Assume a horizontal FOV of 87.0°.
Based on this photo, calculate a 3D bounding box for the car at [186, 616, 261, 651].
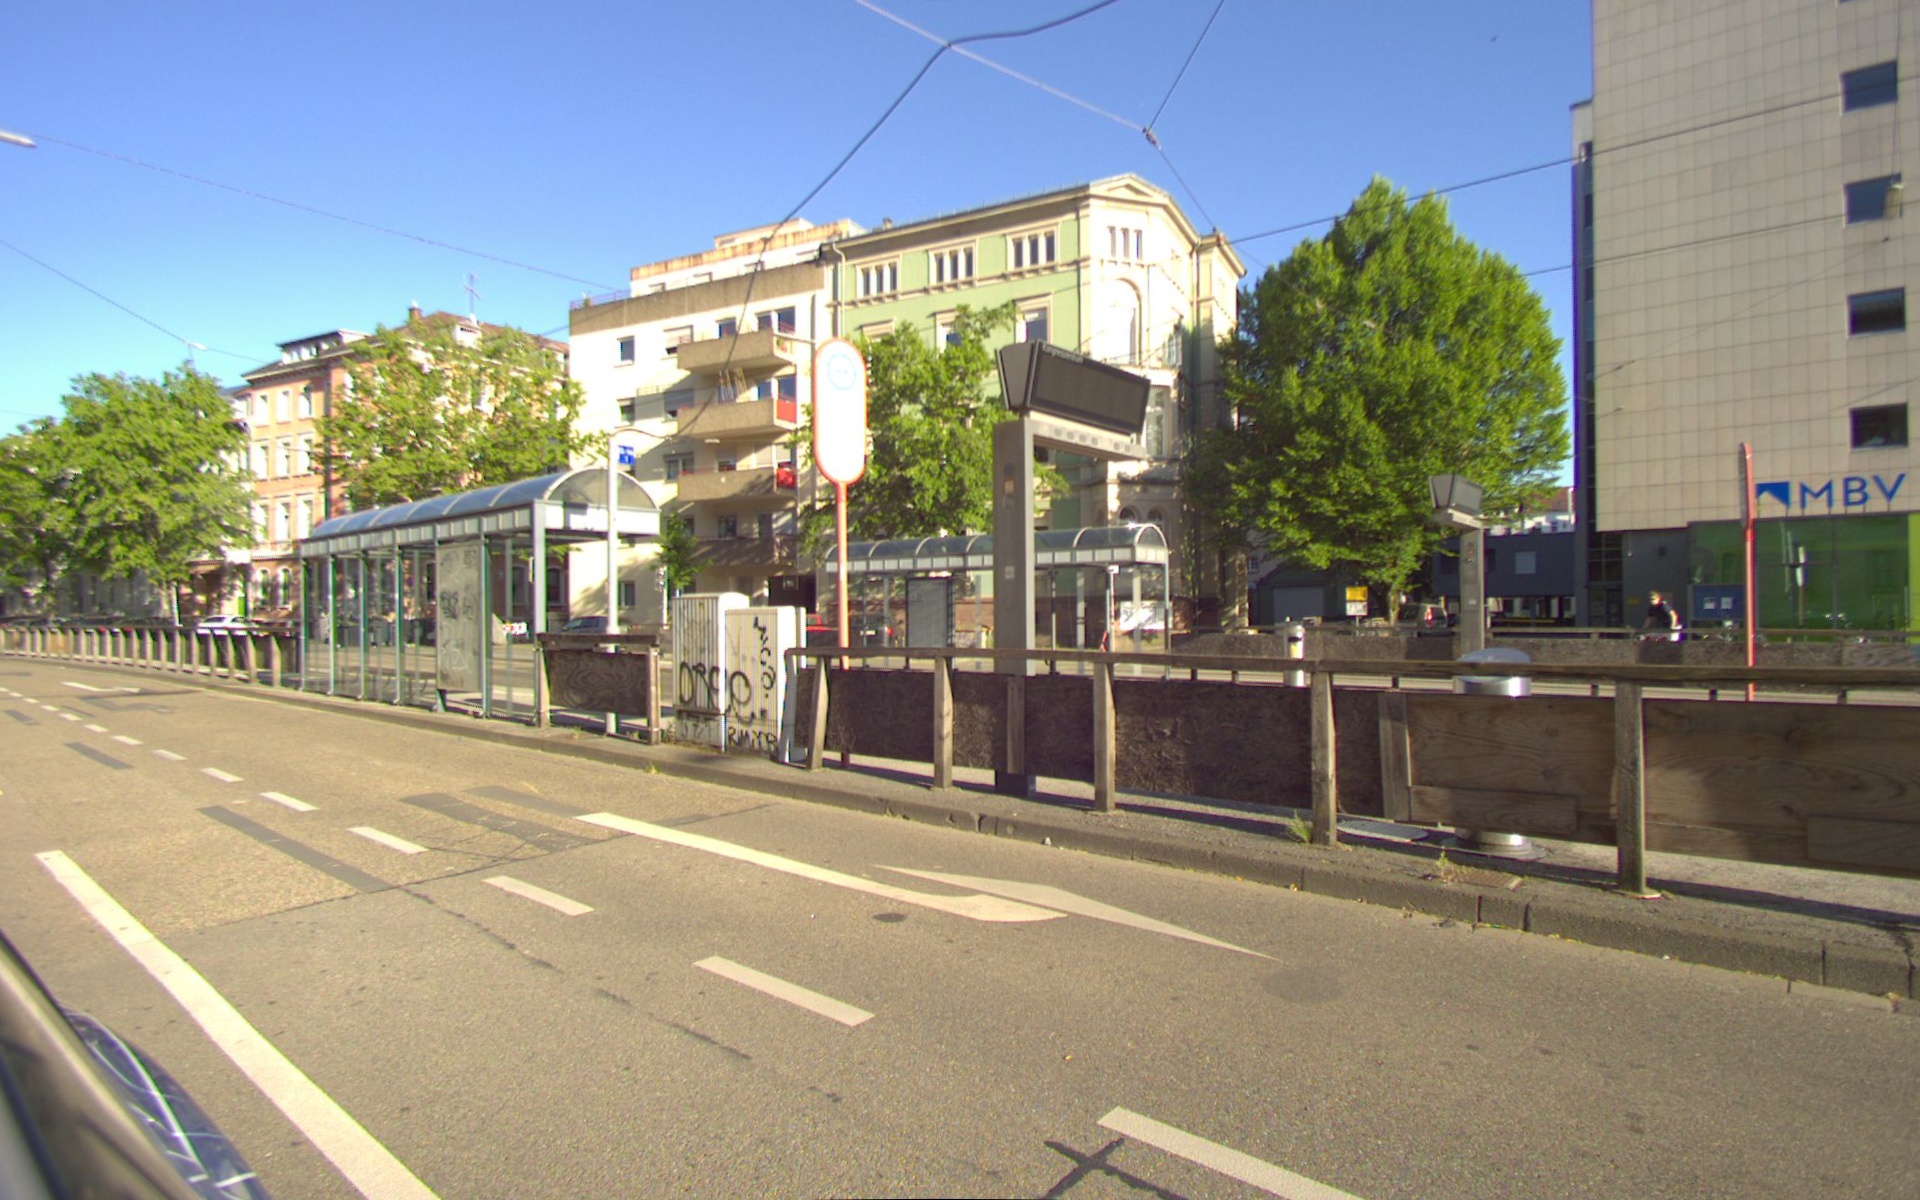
[{"bbox_3d":[-39.524,1.755,54.396,1.966,1.736,4.012,0,1,-15],"label":"car"}]

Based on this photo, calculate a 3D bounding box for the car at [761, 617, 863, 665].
[{"bbox_3d":[-5.007,1.368,34.707,1.763,1.547,3.763,-1,-2,23],"label":"car"}]

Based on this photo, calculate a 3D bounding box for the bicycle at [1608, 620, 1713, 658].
[{"bbox_3d":[15.397,0.847,22.274,1.852,0.793,0.529,-1,-2,41],"label":"bicycle"}]

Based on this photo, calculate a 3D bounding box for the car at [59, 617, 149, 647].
[{"bbox_3d":[-51.296,1.890,60.652,2.001,1.697,3.942,-2,-2,44],"label":"car"}]

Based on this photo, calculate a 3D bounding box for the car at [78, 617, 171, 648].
[{"bbox_3d":[-47.979,1.827,58.179,2.001,1.697,3.942,-2,-2,44],"label":"car"}]

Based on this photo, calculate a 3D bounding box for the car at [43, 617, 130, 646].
[{"bbox_3d":[-54.303,1.936,62.981,2.001,1.697,3.942,-2,-2,44],"label":"car"}]

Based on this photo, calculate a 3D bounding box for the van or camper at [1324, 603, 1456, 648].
[{"bbox_3d":[15.500,0.889,36.561,3.998,1.417,1.943,2,0,41],"label":"van or camper"}]

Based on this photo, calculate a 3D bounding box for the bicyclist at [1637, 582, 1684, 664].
[{"bbox_3d":[15.404,0.511,22.266,0.770,1.774,0.529,-1,-2,41],"label":"bicyclist"}]

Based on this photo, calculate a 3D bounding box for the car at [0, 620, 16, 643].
[{"bbox_3d":[-68.101,2.194,70.138,2.001,1.604,3.812,-2,-2,44],"label":"car"}]

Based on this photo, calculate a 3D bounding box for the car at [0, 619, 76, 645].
[{"bbox_3d":[-59.612,2.062,65.293,3.811,1.604,2.001,1,-2,-45],"label":"car"}]

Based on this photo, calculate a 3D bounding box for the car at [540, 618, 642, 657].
[{"bbox_3d":[-14.008,1.417,38.412,3.498,1.406,1.602,-1,-2,22],"label":"car"}]
